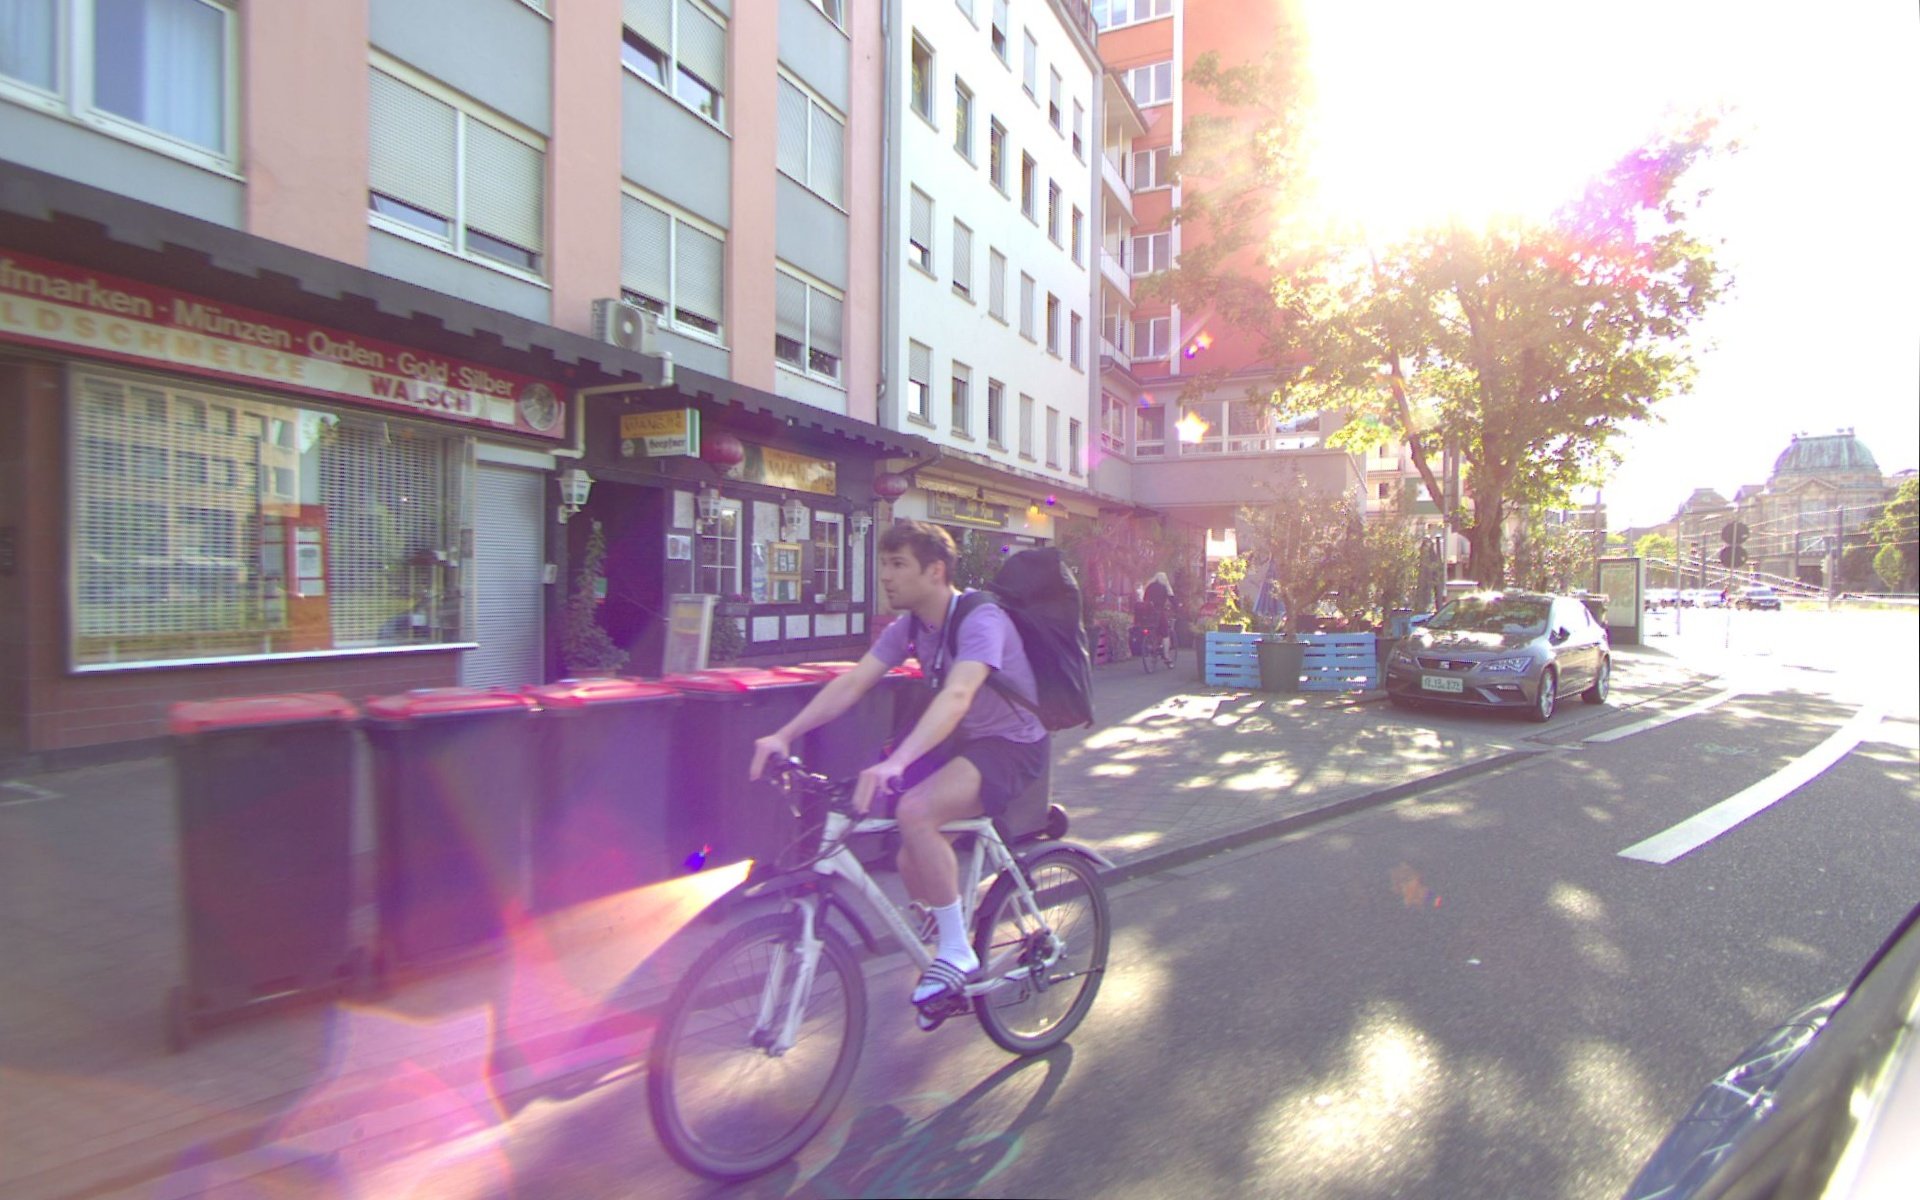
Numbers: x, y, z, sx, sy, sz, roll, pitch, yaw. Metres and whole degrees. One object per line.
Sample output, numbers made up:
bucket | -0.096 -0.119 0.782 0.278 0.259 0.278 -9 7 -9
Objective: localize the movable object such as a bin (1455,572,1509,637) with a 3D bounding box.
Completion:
movable object such as a bin | 14.311 0.091 27.792 1.246 1.730 0.938 1 2 25

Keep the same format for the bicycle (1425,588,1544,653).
bicycle | 10.835 0.390 21.005 0.880 1.266 2.174 0 1 -19

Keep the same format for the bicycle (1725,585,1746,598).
bicycle | 56.804 -0.640 74.119 0.623 0.951 1.894 -2 1 19

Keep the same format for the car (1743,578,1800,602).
car | 55.542 -0.687 69.382 1.978 1.556 4.321 -1 1 24

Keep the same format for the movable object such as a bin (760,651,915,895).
movable object such as a bin | -0.617 0.821 5.078 0.488 1.082 0.591 -2 0 -44

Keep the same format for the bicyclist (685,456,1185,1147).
bicyclist | -0.090 0.428 2.916 0.971 1.502 1.039 -2 0 -41

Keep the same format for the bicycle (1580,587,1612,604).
bicycle | 44.282 -0.309 70.520 1.798 1.096 0.527 -1 0 22

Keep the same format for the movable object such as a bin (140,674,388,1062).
movable object such as a bin | -2.393 0.841 3.479 0.594 1.097 0.593 -2 0 -44

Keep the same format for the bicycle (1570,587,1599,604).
bicycle | 46.311 -0.346 75.092 1.761 1.245 0.412 0 1 21

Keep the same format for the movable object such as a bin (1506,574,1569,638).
movable object such as a bin | 15.469 0.154 27.143 1.370 1.660 1.000 0 1 25

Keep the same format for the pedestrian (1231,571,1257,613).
pedestrian | 12.499 -0.354 44.563 0.841 1.801 0.900 -2 0 -2

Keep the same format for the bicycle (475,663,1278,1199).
bicycle | -0.085 0.854 2.913 2.191 1.150 0.887 -2 1 -42

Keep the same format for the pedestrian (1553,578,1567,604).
pedestrian | 43.335 -0.656 73.057 0.783 1.799 0.868 0 0 24

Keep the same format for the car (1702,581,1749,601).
car | 59.564 -0.684 78.798 1.978 1.447 4.099 -1 1 24

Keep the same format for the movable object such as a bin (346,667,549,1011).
movable object such as a bin | -1.970 0.848 3.882 0.517 1.119 0.610 -2 0 -44

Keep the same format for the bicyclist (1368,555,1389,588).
bicyclist | 20.326 -1.381 49.153 0.925 1.580 0.934 -2 0 23

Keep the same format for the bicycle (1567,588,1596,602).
bicycle | 46.596 -0.383 75.848 1.802 1.073 0.412 1 1 22

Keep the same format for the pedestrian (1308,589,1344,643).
pedestrian | 12.932 0.557 35.745 0.876 1.867 0.827 -2 0 -43

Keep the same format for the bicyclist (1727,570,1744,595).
bicyclist | 56.776 -1.288 74.103 0.695 1.751 0.849 -2 0 20

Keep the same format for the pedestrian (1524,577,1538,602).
pedestrian | 43.454 -0.780 77.014 0.857 1.858 1.201 0 0 24

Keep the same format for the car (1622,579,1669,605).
car | 46.619 -0.535 68.880 1.882 1.708 4.086 0 1 23

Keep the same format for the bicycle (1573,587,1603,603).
bicycle | 45.759 -0.358 73.734 1.801 1.082 0.412 1 2 21

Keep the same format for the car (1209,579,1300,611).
car | 14.308 -0.225 49.197 4.117 1.444 1.565 0 3 24

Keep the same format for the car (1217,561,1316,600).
car | 17.975 -1.164 59.379 5.209 2.226 2.353 1 1 30

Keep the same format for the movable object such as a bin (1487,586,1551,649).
movable object such as a bin | 12.470 0.385 22.628 1.164 1.373 0.919 -2 0 27

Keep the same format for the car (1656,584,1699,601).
car | 56.745 -0.594 80.084 1.967 1.308 4.357 0 1 24

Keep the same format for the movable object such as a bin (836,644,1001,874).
movable object such as a bin | -0.222 0.804 5.430 0.600 1.082 0.619 -2 0 -44

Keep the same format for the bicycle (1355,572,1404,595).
bicycle | 20.357 -0.801 49.146 2.124 1.013 0.854 -1 0 24

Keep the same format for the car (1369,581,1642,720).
car | 7.122 0.509 12.995 4.507 1.456 1.767 0 2 -44

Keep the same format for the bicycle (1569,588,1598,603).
bicycle | 46.501 -0.343 75.459 1.801 1.073 0.412 0 1 21

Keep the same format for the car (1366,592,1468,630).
car | 20.703 0.510 46.020 4.116 1.521 1.832 -1 2 24

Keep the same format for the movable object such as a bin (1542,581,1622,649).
movable object such as a bin | 13.384 0.313 21.778 1.280 1.409 0.908 -1 0 43

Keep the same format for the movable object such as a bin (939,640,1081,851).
movable object such as a bin | 0.289 0.802 5.859 0.561 1.096 0.573 -2 0 -44

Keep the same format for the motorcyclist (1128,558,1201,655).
motorcyclist | 3.421 0.104 16.910 0.896 1.570 0.795 -1 0 40

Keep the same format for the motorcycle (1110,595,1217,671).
motorcycle | 3.439 0.517 16.932 0.774 1.140 2.265 -1 1 39

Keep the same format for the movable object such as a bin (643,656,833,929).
movable object such as a bin | -1.024 0.830 4.665 0.603 1.082 0.606 -2 0 -45

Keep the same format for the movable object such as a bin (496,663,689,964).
movable object such as a bin | -1.542 0.835 4.241 0.536 1.082 0.605 -2 0 -44
